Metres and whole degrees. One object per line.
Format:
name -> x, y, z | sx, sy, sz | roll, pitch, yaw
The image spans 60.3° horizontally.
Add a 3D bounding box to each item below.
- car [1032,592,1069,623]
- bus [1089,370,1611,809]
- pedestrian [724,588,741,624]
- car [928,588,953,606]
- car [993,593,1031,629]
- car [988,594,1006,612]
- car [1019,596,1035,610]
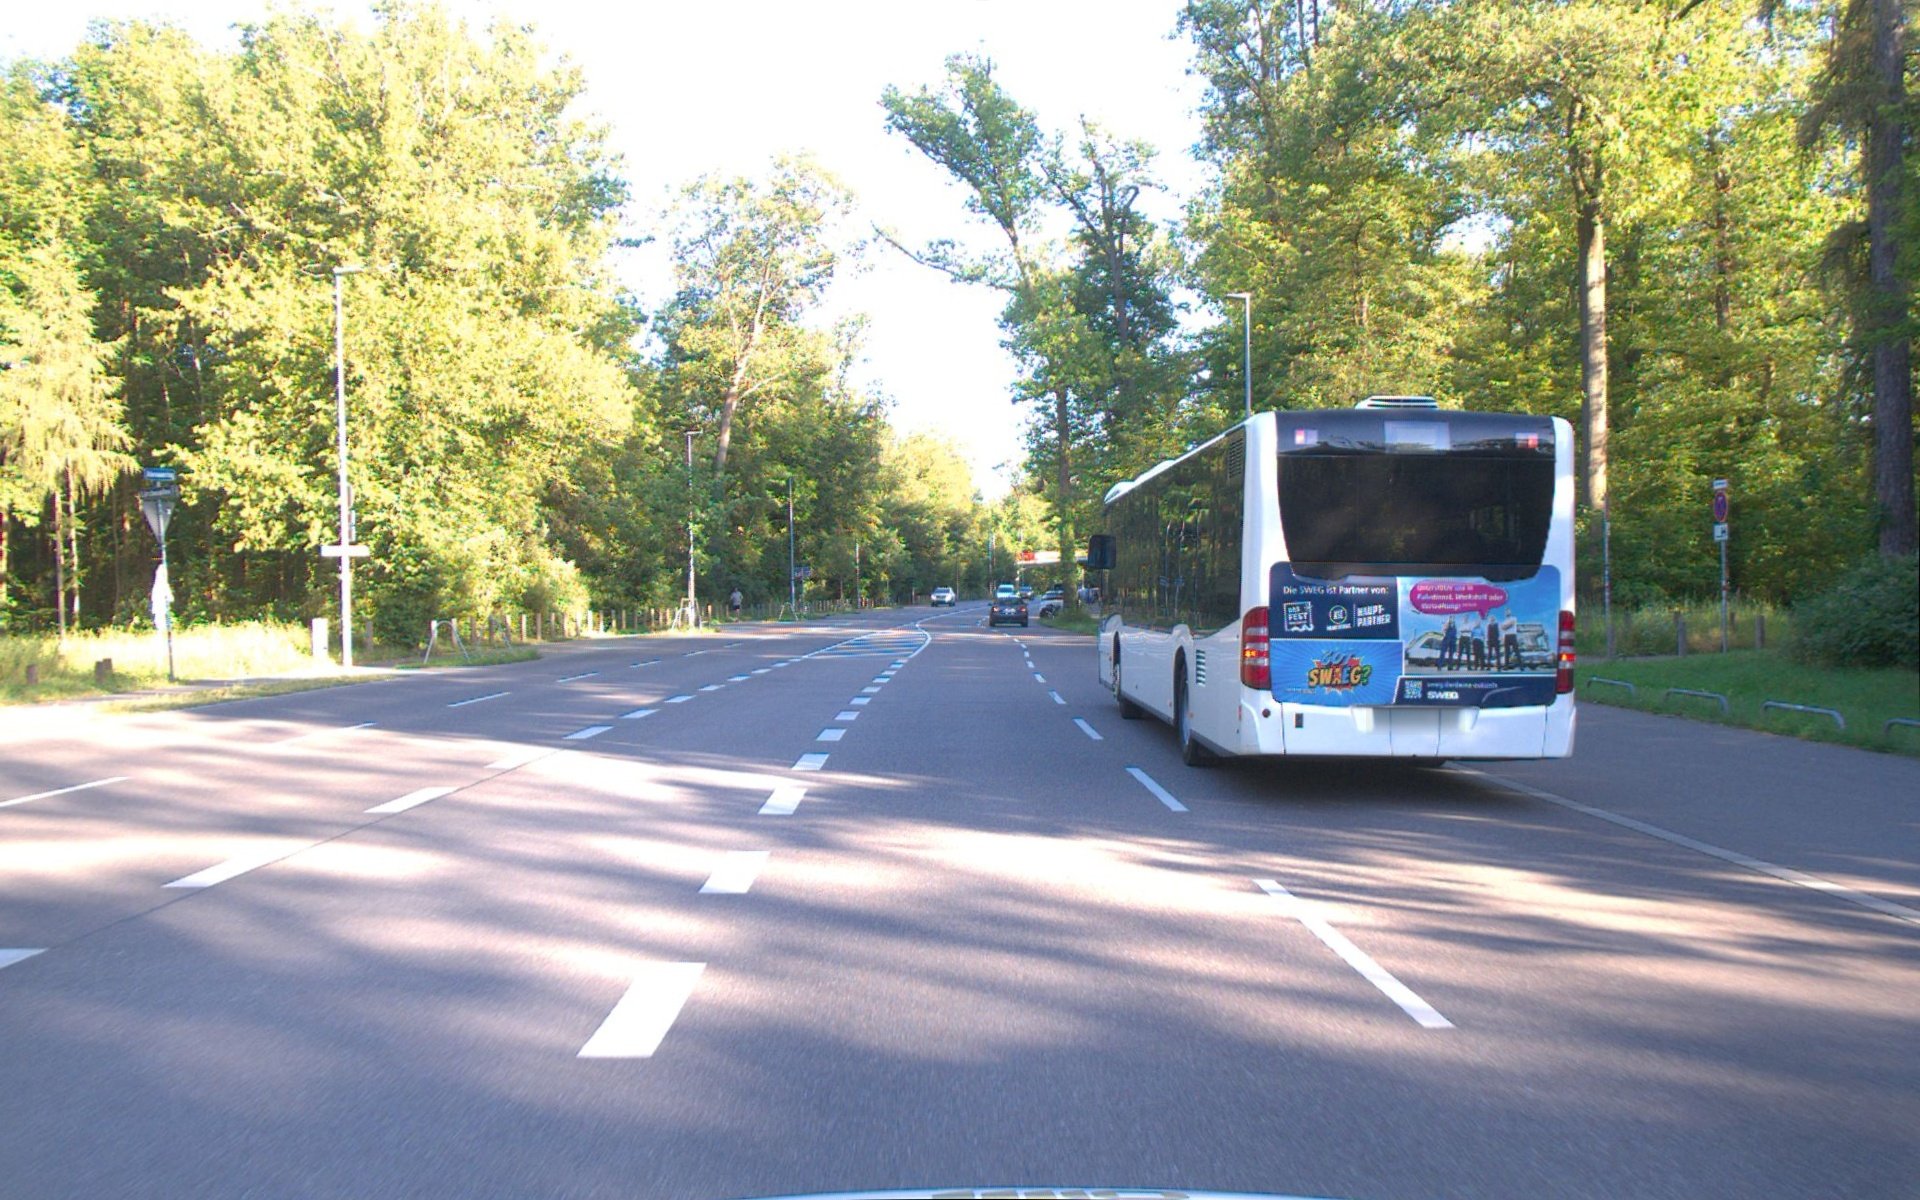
car -> 5.087, 0.412, 92.673 | 1.597, 1.688, 4.135 | 0, 0, 9
bus -> 3.248, -0.038, 17.764 | 2.635, 3.096, 12.038 | 0, 0, -1
pedestrian -> -11.689, 0.308, 85.029 | 0.763, 1.844, 0.770 | 0, 0, 0
car -> -1.675, -0.244, 143.935 | 1.824, 1.564, 4.134 | 0, 0, 4
car -> 2.395, 0.499, 75.720 | 1.597, 1.574, 4.134 | 0, 0, 4
car -> 3.760, 0.291, 168.866 | 1.824, 1.759, 4.000 | 0, 0, 1
car -> 7.836, 0.350, 193.478 | 1.824, 1.592, 4.001 | 1, 0, 2
